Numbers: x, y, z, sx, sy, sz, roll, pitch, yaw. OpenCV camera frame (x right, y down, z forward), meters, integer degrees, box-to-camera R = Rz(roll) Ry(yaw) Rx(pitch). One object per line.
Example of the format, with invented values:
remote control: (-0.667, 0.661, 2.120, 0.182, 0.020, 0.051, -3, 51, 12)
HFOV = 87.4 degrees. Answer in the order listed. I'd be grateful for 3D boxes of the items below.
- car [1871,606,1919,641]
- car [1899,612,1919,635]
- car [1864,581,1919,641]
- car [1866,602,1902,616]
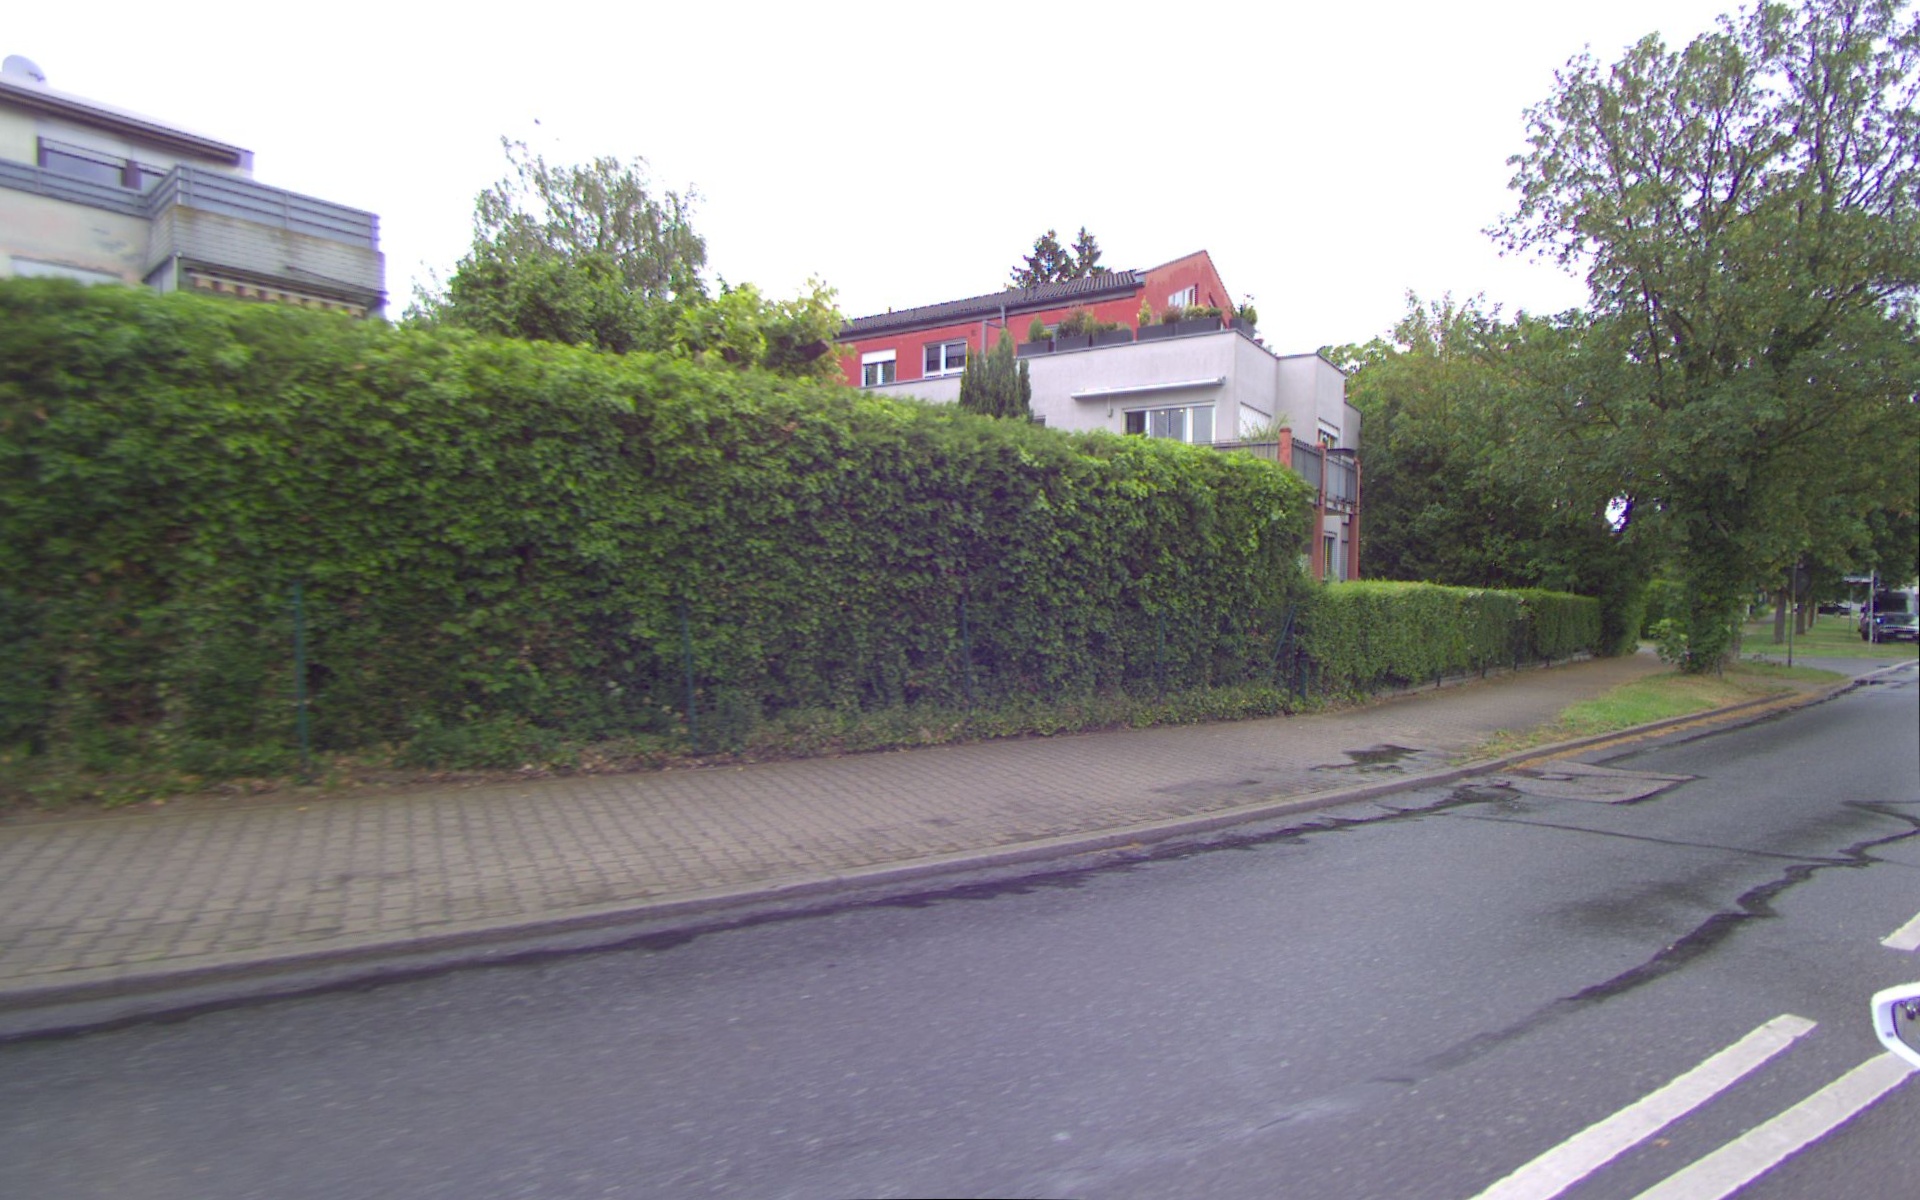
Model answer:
car: (42.396, 1.039, 45.324, 1.702, 1.427, 3.807, 3, 2, 40)
car: (65.946, 1.610, 69.152, 1.575, 1.484, 3.437, 3, 2, 39)
car: (46.685, 0.519, 50.213, 1.970, 2.765, 5.907, 5, 3, 41)
car: (111.600, 1.055, 121.383, 1.615, 1.447, 4.000, 3, 3, 18)
